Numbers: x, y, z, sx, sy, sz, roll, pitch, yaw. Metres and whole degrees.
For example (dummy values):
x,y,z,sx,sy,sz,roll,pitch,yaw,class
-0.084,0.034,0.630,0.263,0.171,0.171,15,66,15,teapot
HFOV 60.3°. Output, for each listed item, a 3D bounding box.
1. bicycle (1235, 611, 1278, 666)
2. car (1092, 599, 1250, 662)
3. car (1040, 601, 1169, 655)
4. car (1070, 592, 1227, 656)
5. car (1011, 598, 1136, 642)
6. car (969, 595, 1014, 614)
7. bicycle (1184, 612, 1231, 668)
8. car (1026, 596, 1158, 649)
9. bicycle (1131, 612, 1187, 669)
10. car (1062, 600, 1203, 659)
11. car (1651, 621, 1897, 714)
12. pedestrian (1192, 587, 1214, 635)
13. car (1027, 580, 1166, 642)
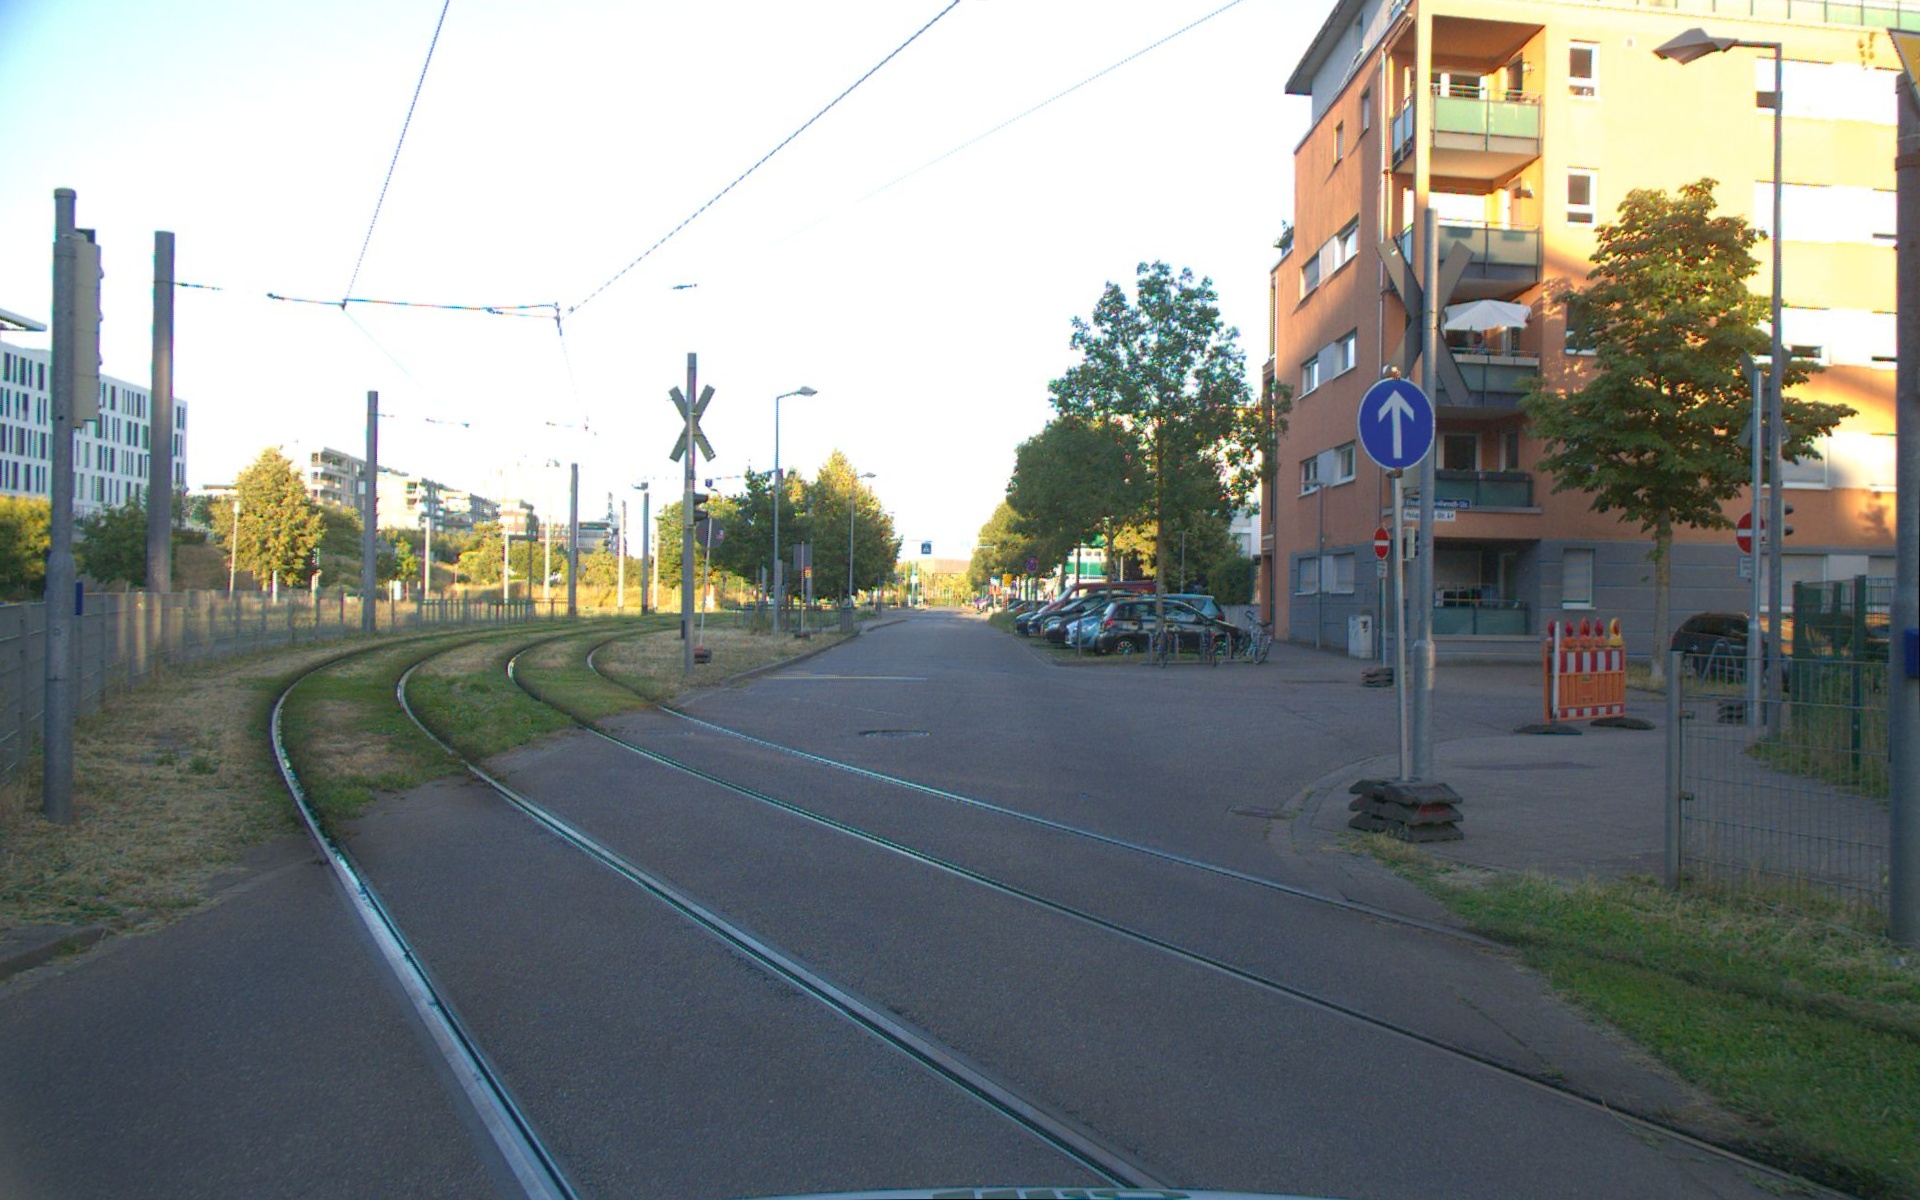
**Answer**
x,y,z,sx,sy,sz,roll,pitch,yaw,class
6.721,0.867,37.610,0.518,1.146,1.962,2,1,-2,bicycle
5.288,0.748,41.646,3.676,1.499,1.611,1,0,-5,car
4.292,0.861,49.396,3.696,1.522,1.538,1,-3,-1,car
4.968,0.633,43.993,3.967,1.596,1.672,-1,0,0,car
4.220,0.757,62.048,4.573,1.584,1.811,1,0,0,car
3.503,0.517,186.266,4.905,2.081,2.248,0,-1,-5,car
5.532,0.880,37.072,0.665,1.172,1.927,-1,1,-2,bicycle
4.270,0.733,53.926,4.129,1.596,1.792,-1,0,0,car
4.473,0.892,37.229,0.704,1.172,1.893,-1,2,-11,bicycle
4.850,0.820,46.791,3.797,1.596,1.620,1,0,0,car
15.925,1.273,32.690,1.957,1.622,4.804,1,-1,-9,car
8.909,0.400,60.640,0.655,1.774,0.699,1,-1,-1,pedestrian
4.855,0.389,59.273,4.818,2.154,2.017,1,-1,1,car
